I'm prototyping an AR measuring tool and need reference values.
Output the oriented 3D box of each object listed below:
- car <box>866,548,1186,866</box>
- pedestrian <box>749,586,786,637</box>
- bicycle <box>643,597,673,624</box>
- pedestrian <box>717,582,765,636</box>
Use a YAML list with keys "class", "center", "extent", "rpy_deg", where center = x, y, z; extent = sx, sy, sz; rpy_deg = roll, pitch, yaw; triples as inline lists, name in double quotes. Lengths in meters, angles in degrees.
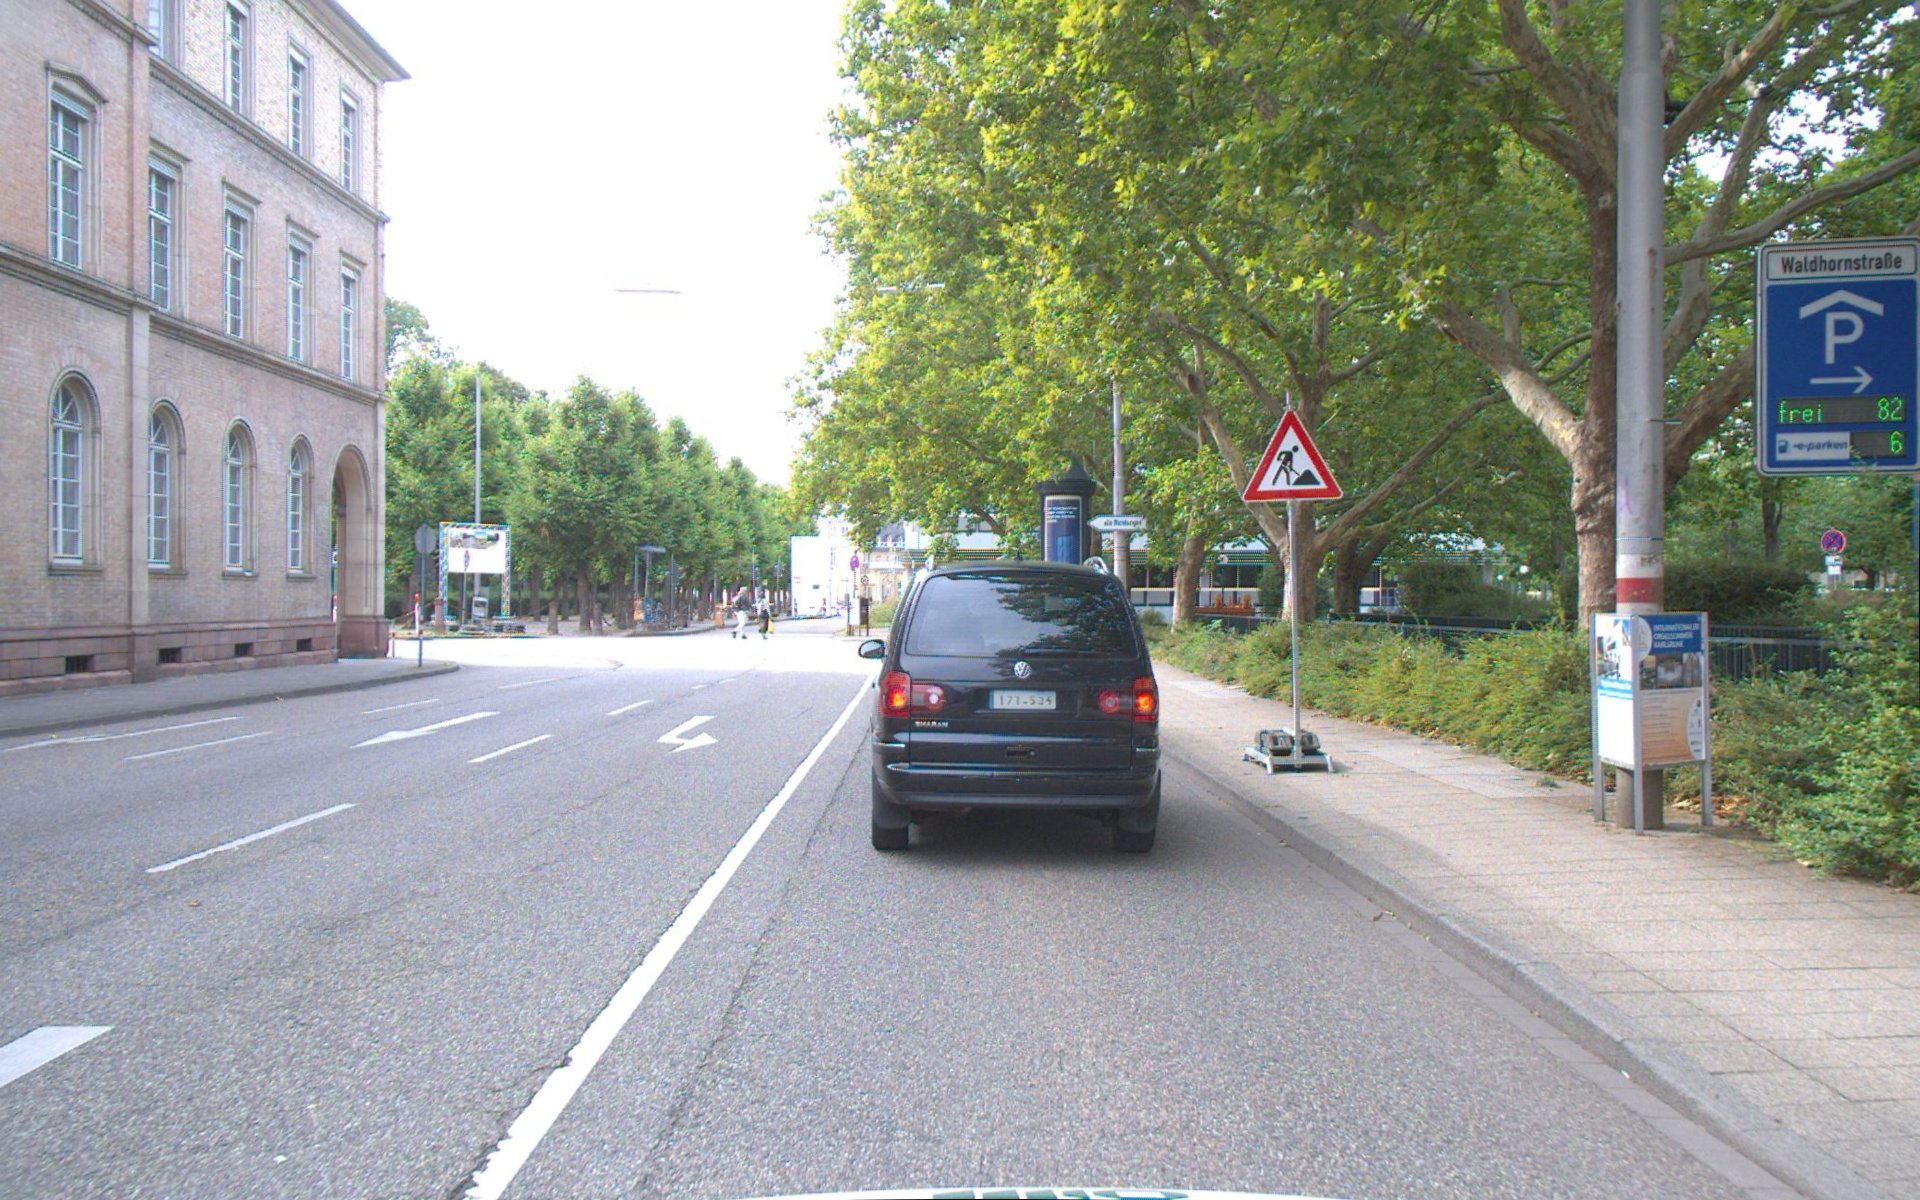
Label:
- class: "car"
  center: [0.316, 0.573, 11.150]
  extent: [1.757, 1.738, 4.130]
  rpy_deg: [0, 0, -1]
- class: "pedestrian"
  center: [-6.405, 0.393, 55.080]
  extent: [0.846, 1.670, 0.884]
  rpy_deg: [1, 0, -44]
- class: "bicycle"
  center: [-13.444, 0.453, 73.611]
  extent: [0.937, 1.129, 2.566]
  rpy_deg: [2, 0, -18]
- class: "pedestrian"
  center: [-7.338, 0.308, 55.434]
  extent: [1.246, 1.772, 0.948]
  rpy_deg: [1, 0, -44]
